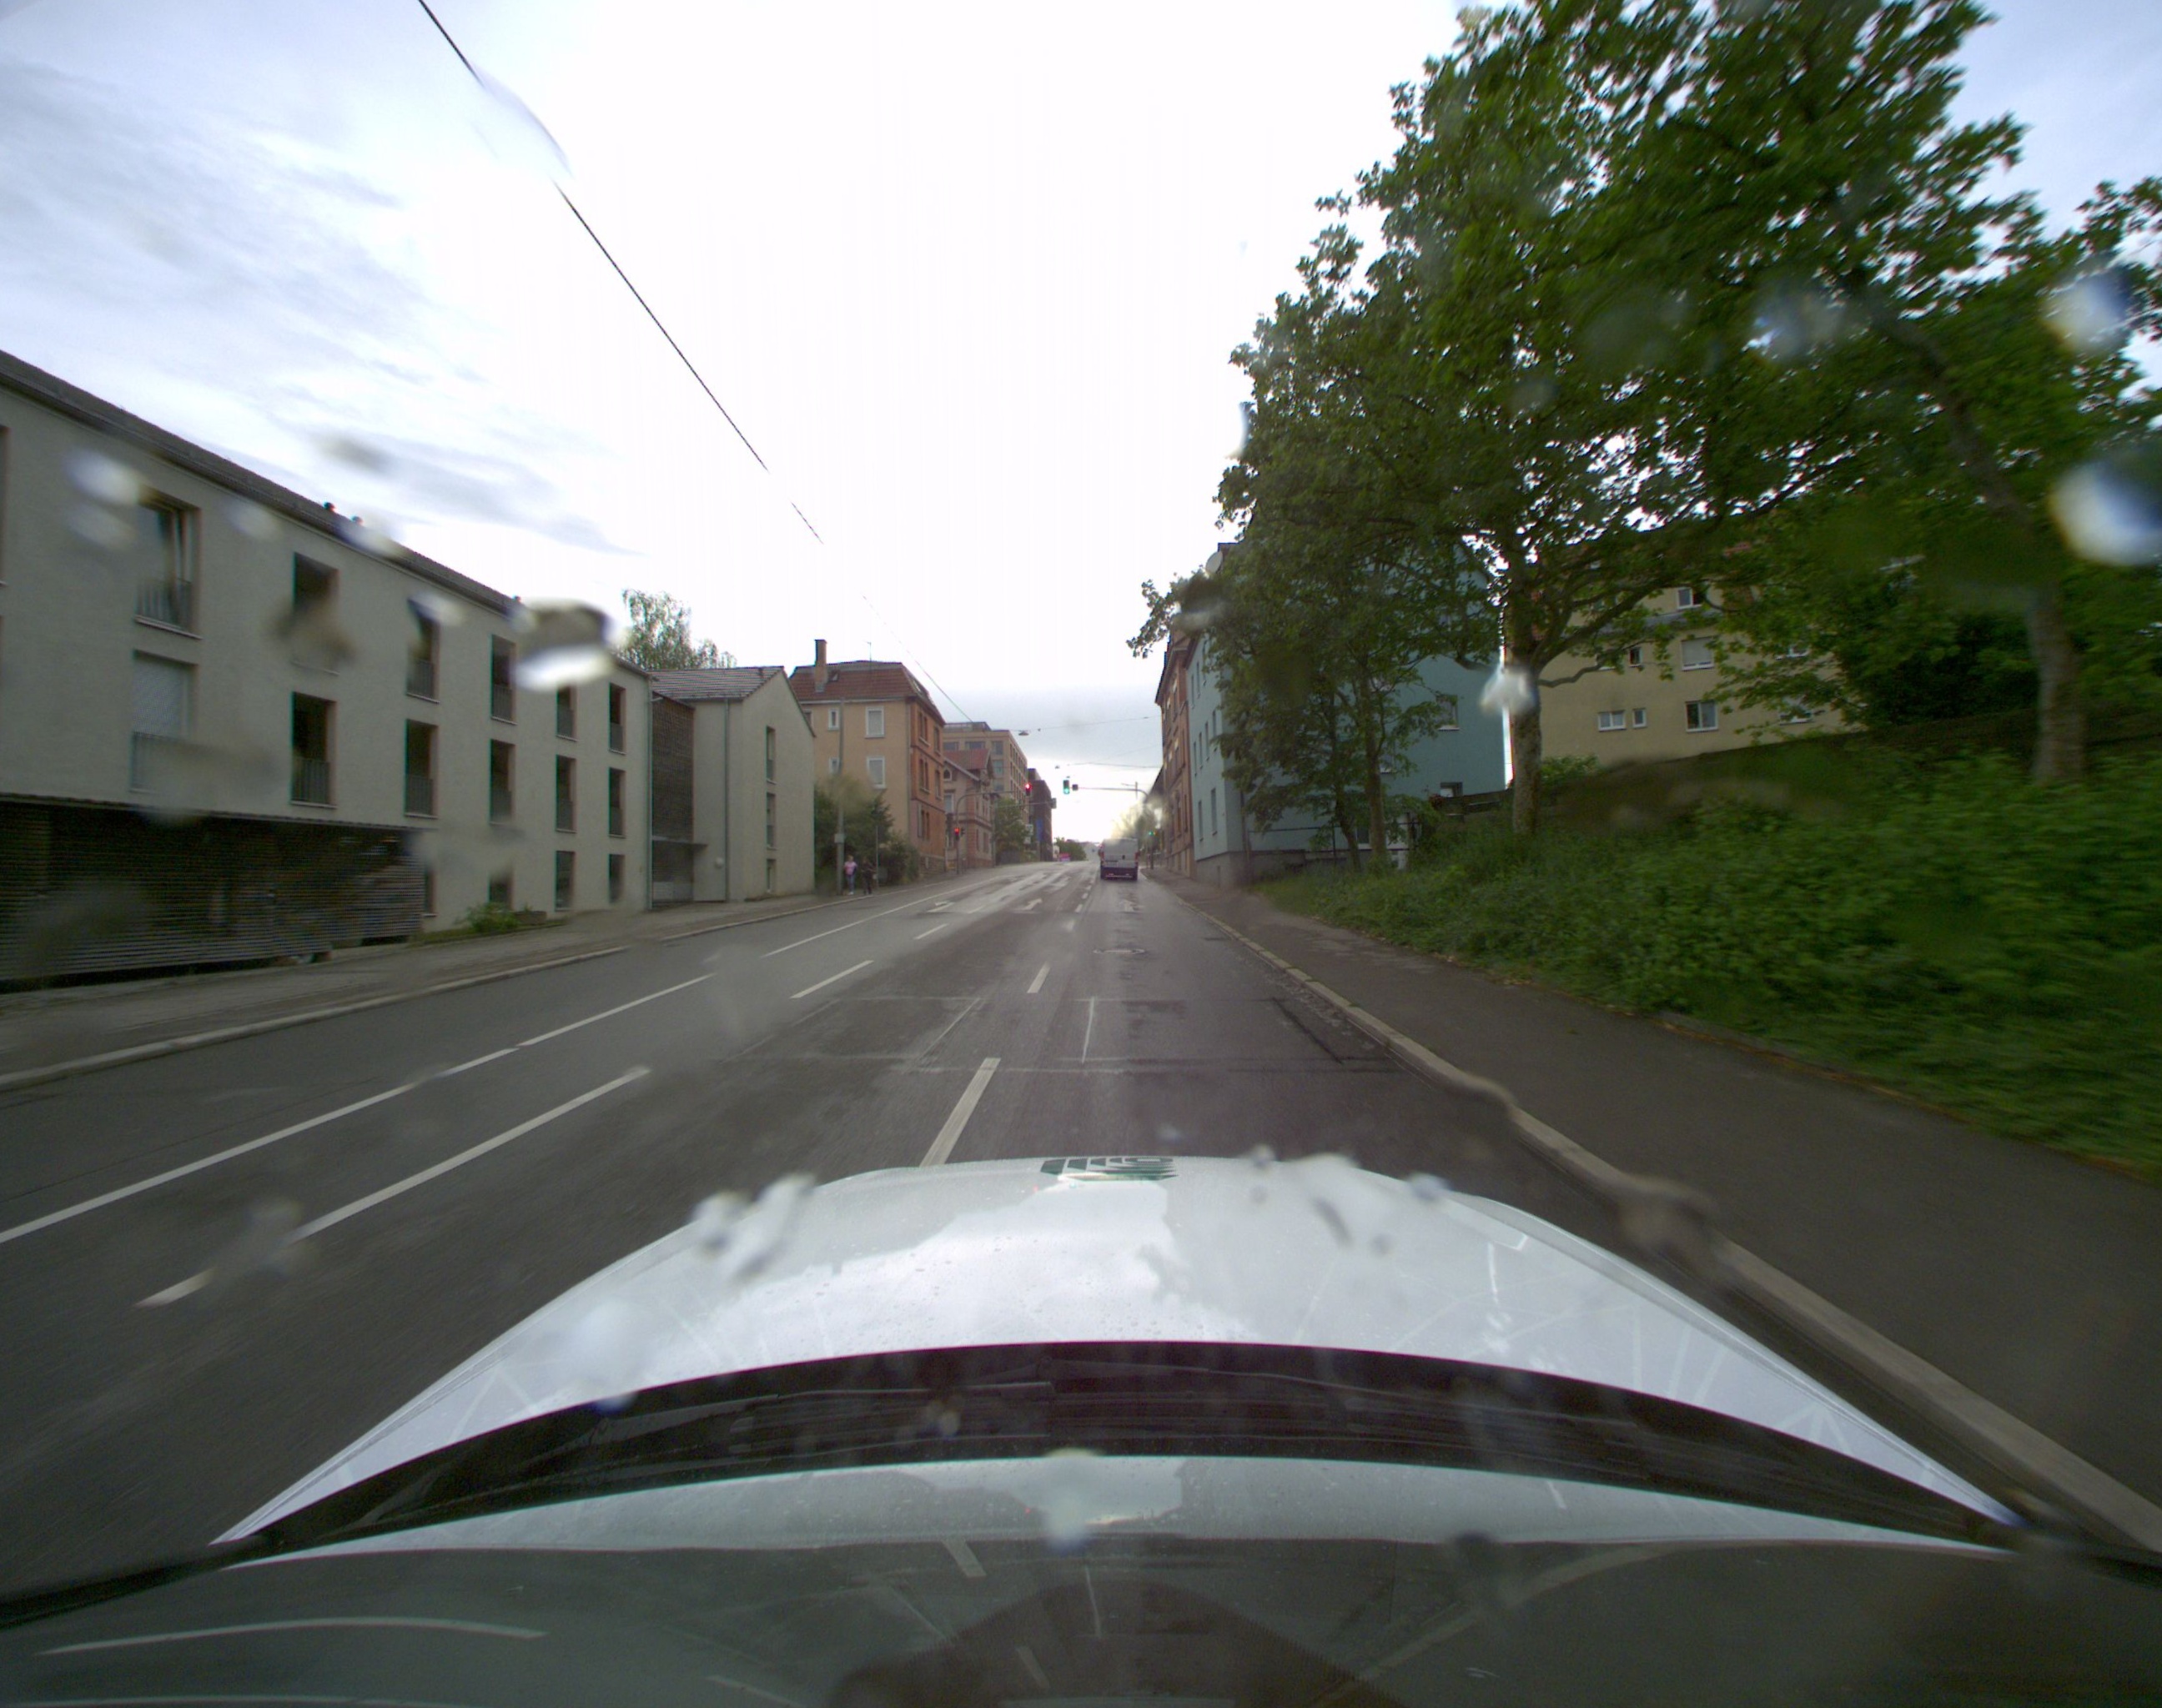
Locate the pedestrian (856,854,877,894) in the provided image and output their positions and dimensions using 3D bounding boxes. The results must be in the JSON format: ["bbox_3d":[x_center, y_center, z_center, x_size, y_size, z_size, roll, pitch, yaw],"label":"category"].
[{"bbox_3d":[-9.224,0.859,35.059,0.637,1.706,0.912,-1,0,2],"label":"pedestrian"}]

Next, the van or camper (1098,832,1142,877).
[{"bbox_3d":[2.179,0.070,45.542,2.331,2.357,5.202,0,-1,2],"label":"van or camper"}]

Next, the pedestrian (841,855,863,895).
[{"bbox_3d":[-9.900,0.904,35.249,0.637,1.706,0.912,-1,0,2],"label":"pedestrian"}]

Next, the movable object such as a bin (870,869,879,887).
[{"bbox_3d":[-10.696,1.251,42.188,0.408,0.925,0.525,0,-1,-5],"label":"movable object such as a bin"}]
